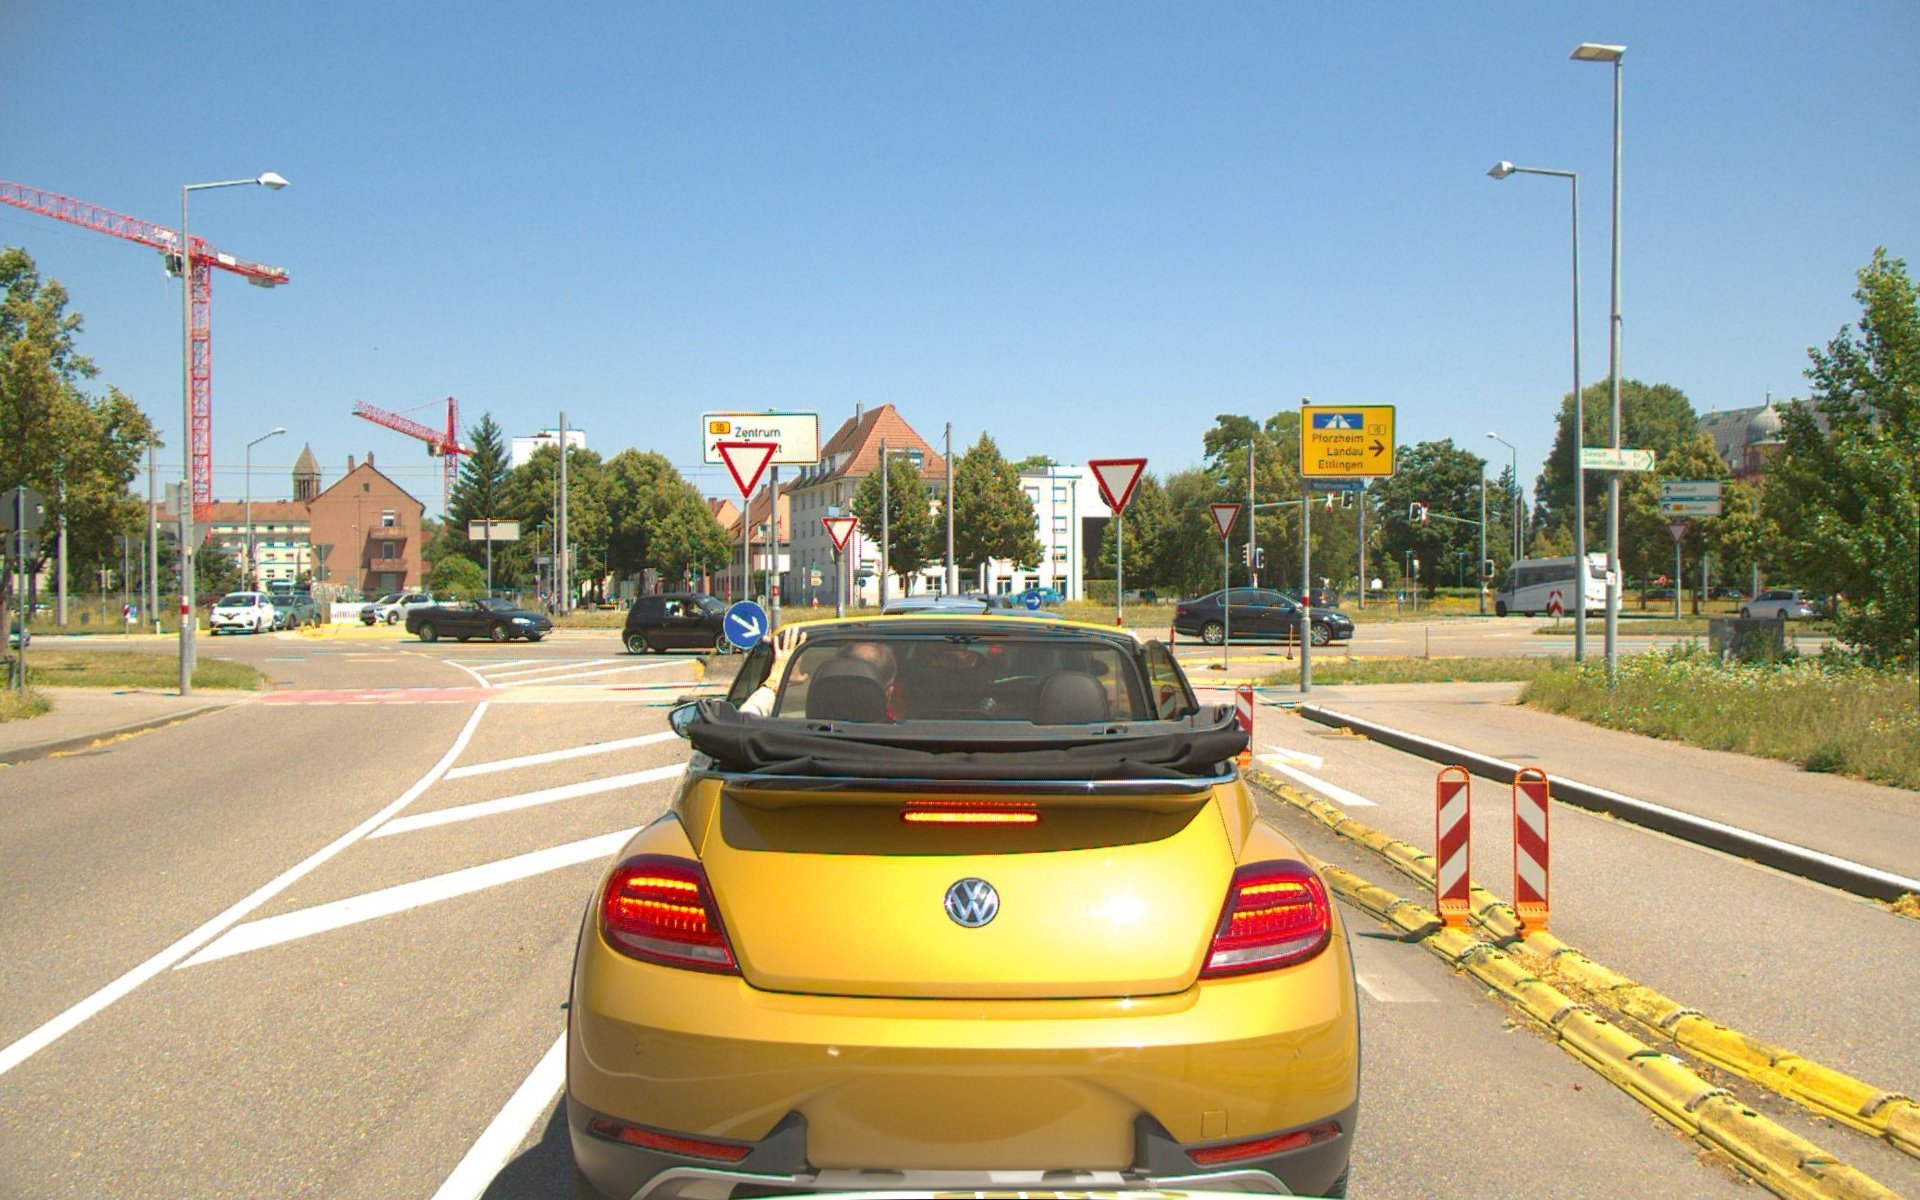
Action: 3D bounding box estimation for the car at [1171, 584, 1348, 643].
[{"bbox_3d":[7.713,0.342,42.917,4.422,1.472,1.824,0,0,7],"label":"car"}]

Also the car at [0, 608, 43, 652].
[{"bbox_3d":[-31.370,0.911,52.404,4.177,1.339,1.822,0,0,22],"label":"car"}]

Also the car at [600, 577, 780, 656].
[{"bbox_3d":[-6.593,0.389,40.572,3.902,1.847,2.002,0,0,10],"label":"car"}]

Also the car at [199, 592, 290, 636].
[{"bbox_3d":[-26.879,0.508,62.250,1.720,1.576,3.999,0,0,-1],"label":"car"}]

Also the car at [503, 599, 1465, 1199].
[{"bbox_3d":[0.016,0.727,4.847,1.717,1.447,3.776,0,0,-1],"label":"car"}]

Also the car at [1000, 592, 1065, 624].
[{"bbox_3d":[4.448,0.484,100.730,3.903,1.870,2.001,0,0,3],"label":"car"}]

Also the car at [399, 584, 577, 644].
[{"bbox_3d":[-14.006,0.388,49.060,4.835,1.685,2.000,0,0,20],"label":"car"}]

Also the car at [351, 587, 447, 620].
[{"bbox_3d":[-26.406,0.153,77.962,1.676,1.526,4.210,0,0,32],"label":"car"}]

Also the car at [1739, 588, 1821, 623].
[{"bbox_3d":[35.180,0.246,71.051,1.616,1.449,3.795,0,0,0],"label":"car"}]

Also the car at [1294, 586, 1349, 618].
[{"bbox_3d":[19.220,0.112,88.037,1.617,1.634,3.217,0,0,-14],"label":"car"}]

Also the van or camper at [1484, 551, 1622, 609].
[{"bbox_3d":[29.530,-0.952,82.699,2.466,2.741,7.474,0,0,-18],"label":"van or camper"}]

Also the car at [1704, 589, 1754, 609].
[{"bbox_3d":[71.251,-0.094,153.280,3.923,1.744,1.991,0,0,-17],"label":"car"}]

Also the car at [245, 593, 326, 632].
[{"bbox_3d":[-27.798,0.497,68.291,1.720,1.576,3.999,0,0,-1],"label":"car"}]

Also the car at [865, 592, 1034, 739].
[{"bbox_3d":[-0.132,0.660,18.675,1.701,1.467,3.999,0,0,-1],"label":"car"}]

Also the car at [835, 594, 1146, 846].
[{"bbox_3d":[0.153,0.701,11.666,1.810,1.467,3.999,0,0,-1],"label":"car"}]

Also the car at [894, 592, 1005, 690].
[{"bbox_3d":[-0.188,0.634,27.476,1.701,1.503,3.999,0,0,-1],"label":"car"}]
